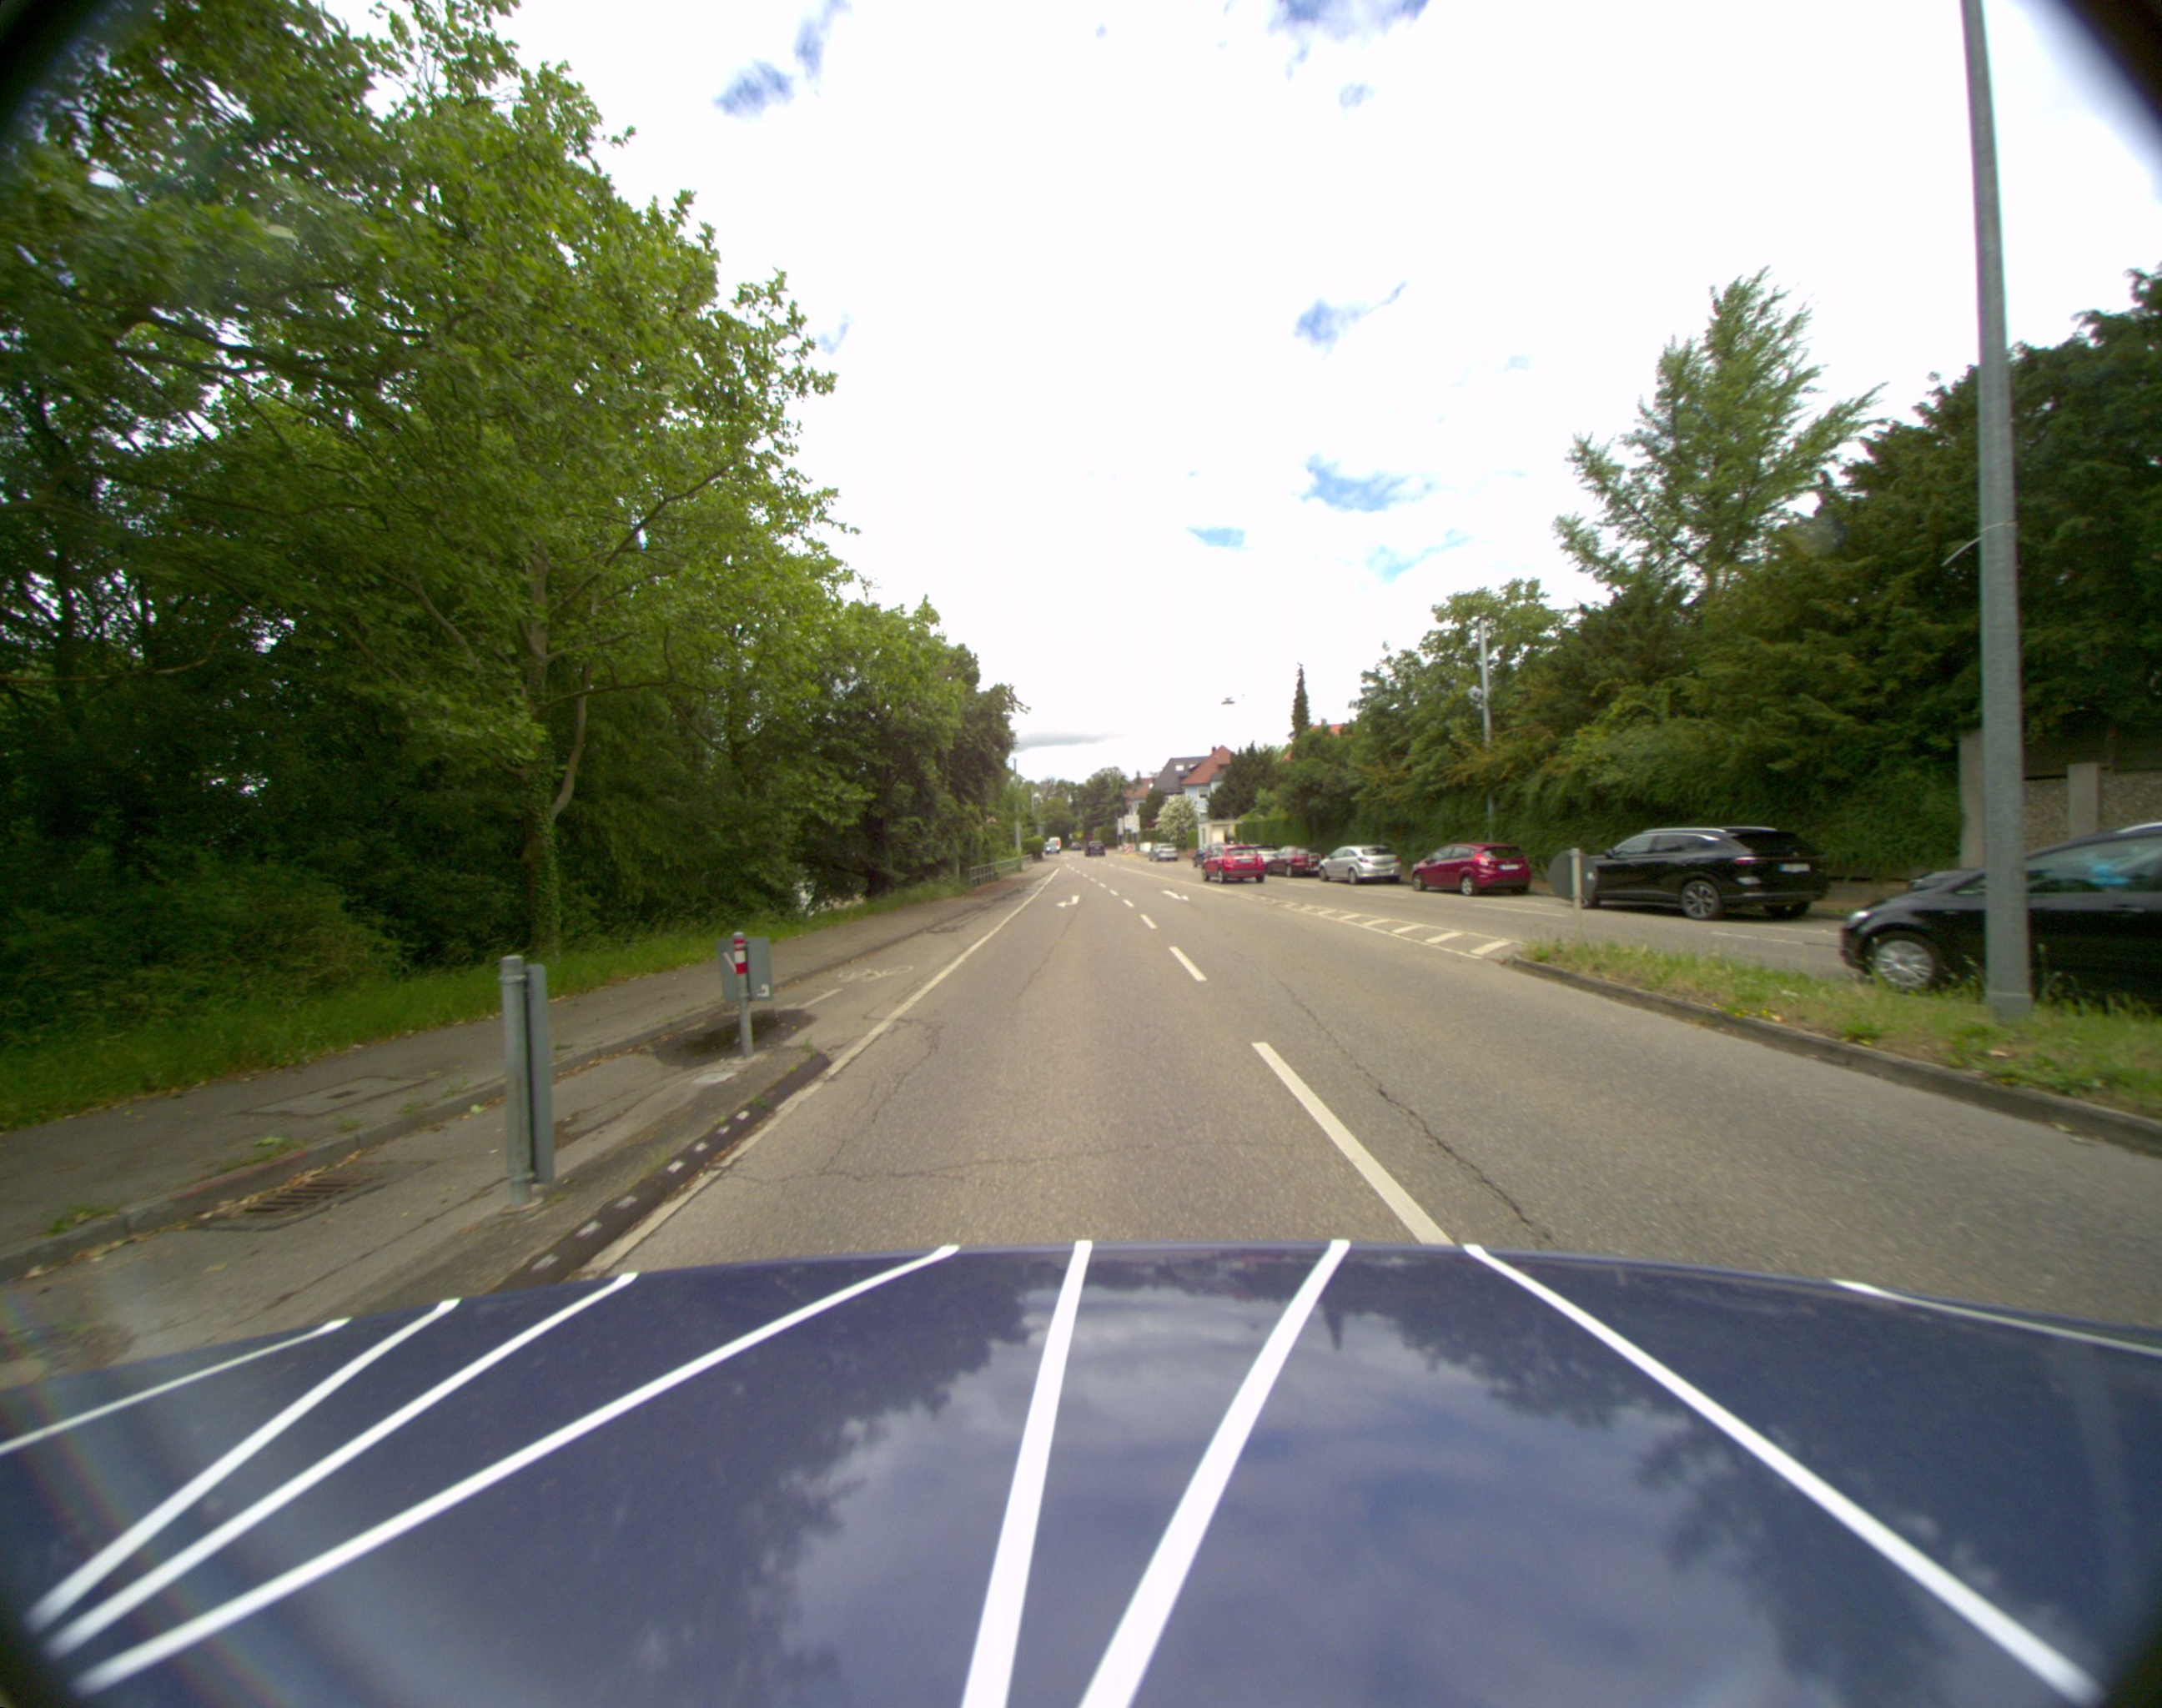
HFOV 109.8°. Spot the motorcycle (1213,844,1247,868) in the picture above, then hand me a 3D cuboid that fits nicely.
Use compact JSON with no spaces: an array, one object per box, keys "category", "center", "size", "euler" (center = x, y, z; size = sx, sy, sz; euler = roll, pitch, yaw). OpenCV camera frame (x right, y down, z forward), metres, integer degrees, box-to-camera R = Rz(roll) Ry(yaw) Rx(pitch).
[{"category":"motorcycle","center":[8.783,0.121,44.913],"size":[0.890,1.347,2.302],"euler":[-1,-1,-22]}]

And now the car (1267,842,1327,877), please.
[{"category":"car","center":[9.803,0.218,34.758],"size":[1.673,1.470,3.910],"euler":[-2,1,1]}]

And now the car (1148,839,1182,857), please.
[{"category":"car","center":[6.863,-0.504,62.753],"size":[1.815,1.447,4.409],"euler":[0,1,-7]}]

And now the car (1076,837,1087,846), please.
[{"category":"car","center":[0.099,-2.153,130.110],"size":[1.738,1.545,4.447],"euler":[-2,1,2]}]

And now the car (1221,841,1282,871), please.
[{"category":"car","center":[8.959,0.054,40.297],"size":[1.895,1.486,4.023],"euler":[-1,1,-7]}]

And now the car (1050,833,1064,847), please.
[{"category":"car","center":[-4.461,-2.559,139.885],"size":[2.118,2.484,6.119],"euler":[-2,1,-6]}]

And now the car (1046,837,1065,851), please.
[{"category":"car","center":[-3.608,-1.406,106.652],"size":[1.864,1.855,4.607],"euler":[-3,0,-10]}]

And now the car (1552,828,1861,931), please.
[{"category":"car","center":[11.689,0.374,14.712],"size":[2.000,1.634,4.462],"euler":[-2,1,-7]}]

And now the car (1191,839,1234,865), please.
[{"category":"car","center":[8.327,-0.154,48.358],"size":[1.684,1.547,3.968],"euler":[-1,2,-6]}]

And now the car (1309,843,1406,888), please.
[{"category":"car","center":[10.359,0.371,28.811],"size":[1.674,1.480,4.427],"euler":[-2,1,-6]}]

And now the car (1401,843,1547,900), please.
[{"category":"car","center":[11.140,0.416,21.885],"size":[1.785,1.430,3.997],"euler":[-2,1,-7]}]

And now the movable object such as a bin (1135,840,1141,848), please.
[{"category":"movable object such as a bin","center":[6.947,-1.238,92.622],"size":[0.509,0.968,0.540],"euler":[-2,2,-3]}]

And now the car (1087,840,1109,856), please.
[{"category":"car","center":[1.792,-0.690,82.675],"size":[1.848,1.638,4.209],"euler":[-3,2,-6]}]

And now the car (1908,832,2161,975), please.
[{"category":"car","center":[12.525,0.518,8.481],"size":[1.952,1.503,4.100],"euler":[-1,1,-5]}]

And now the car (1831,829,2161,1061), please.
[{"category":"car","center":[8.541,0.626,5.564],"size":[2.004,1.578,3.994],"euler":[-2,1,-5]}]
